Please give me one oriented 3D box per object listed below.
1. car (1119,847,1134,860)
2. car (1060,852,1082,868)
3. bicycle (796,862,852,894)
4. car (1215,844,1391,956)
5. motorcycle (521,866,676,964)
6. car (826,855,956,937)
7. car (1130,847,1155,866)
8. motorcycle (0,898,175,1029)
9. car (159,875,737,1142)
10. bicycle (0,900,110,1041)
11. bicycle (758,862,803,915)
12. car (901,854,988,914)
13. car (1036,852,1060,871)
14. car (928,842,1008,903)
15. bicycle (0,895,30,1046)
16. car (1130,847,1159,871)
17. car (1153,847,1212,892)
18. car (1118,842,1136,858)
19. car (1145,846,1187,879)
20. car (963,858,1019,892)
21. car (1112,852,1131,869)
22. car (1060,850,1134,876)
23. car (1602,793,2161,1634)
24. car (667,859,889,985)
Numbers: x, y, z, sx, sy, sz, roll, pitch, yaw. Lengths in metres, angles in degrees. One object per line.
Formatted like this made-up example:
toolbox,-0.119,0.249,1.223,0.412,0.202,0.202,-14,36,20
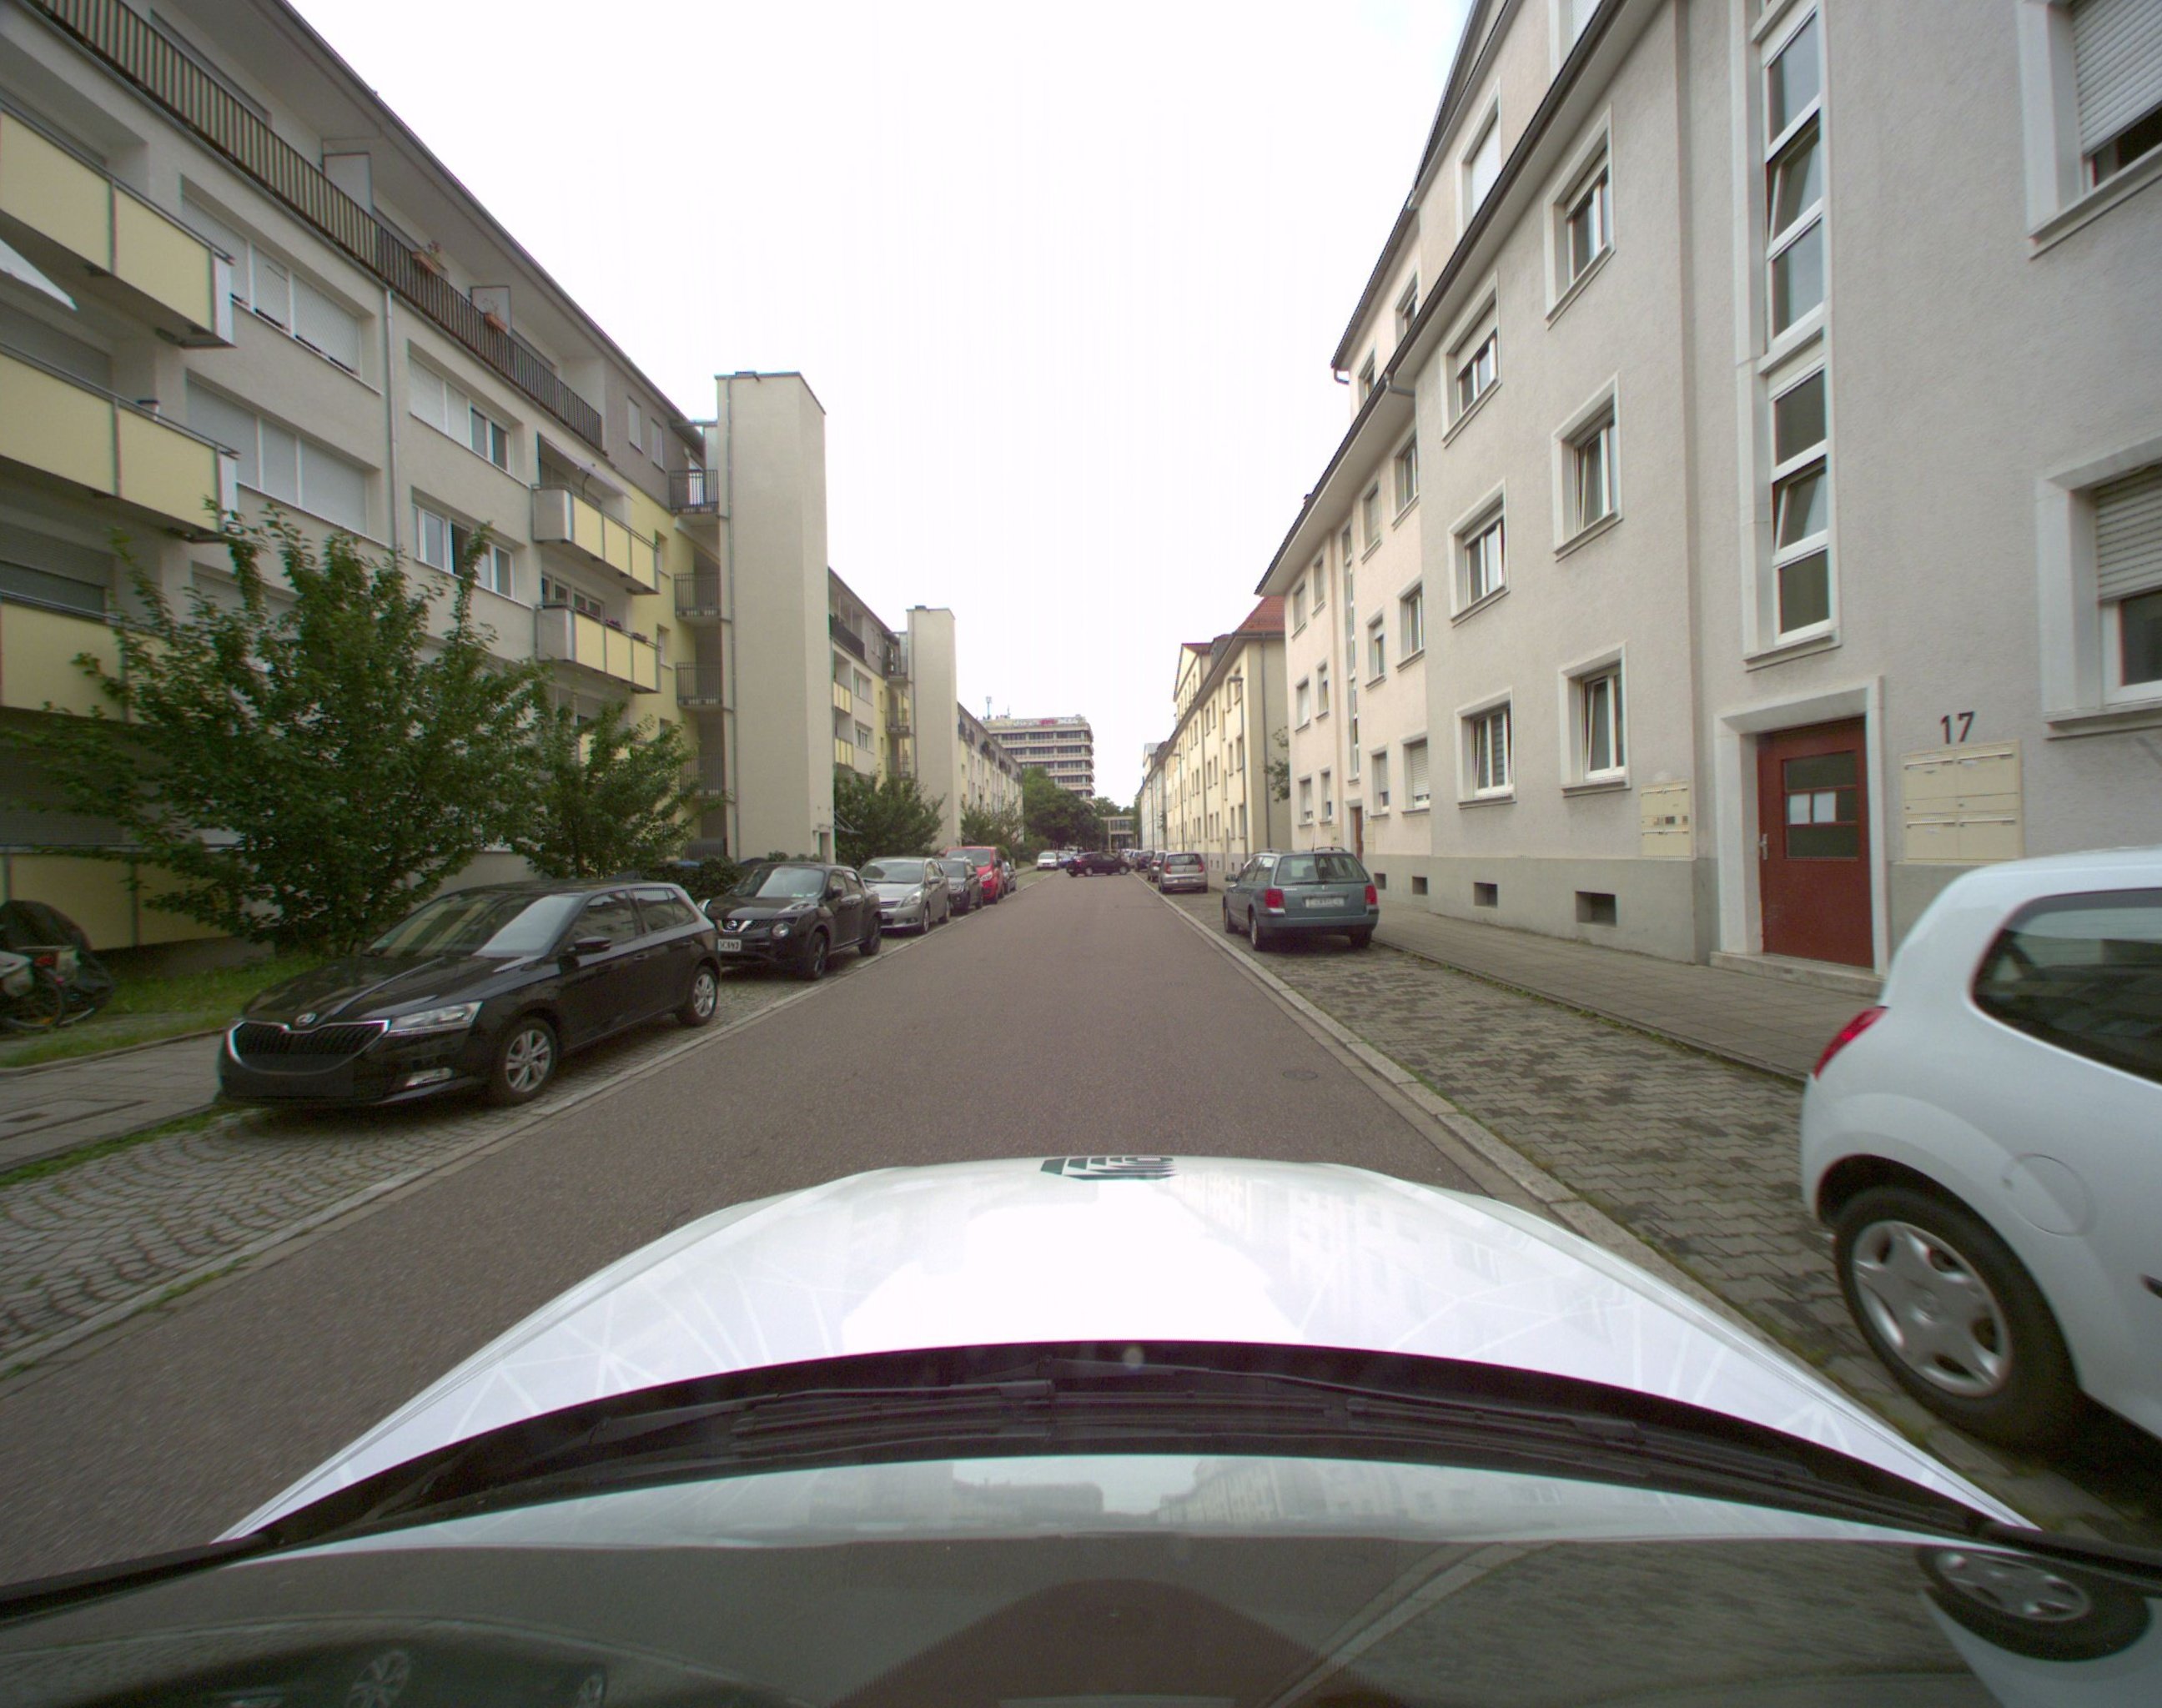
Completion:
car,5.669,-0.095,102.728,1.813,1.503,4.093,-2,0,2
car,-0.985,0.585,80.666,1.838,1.451,4.504,-1,0,3
bicycle,-9.400,0.879,29.819,1.828,1.118,0.605,-1,0,0
car,3.355,0.609,13.157,1.719,1.469,4.265,-2,0,1
motorcycle,-7.272,0.862,12.477,0.866,1.307,2.421,0,0,2
car,-4.067,0.822,18.273,1.829,1.570,4.860,0,0,-1
car,5.050,0.206,67.078,1.842,1.450,3.834,-2,0,2
motorcycle,-9.926,1.040,7.788,1.744,1.129,0.593,-2,0,-3
car,-4.510,0.948,6.681,1.637,1.438,3.858,0,0,2
bicycle,-9.802,1.023,7.145,1.718,1.142,0.608,-2,0,-3
bicycle,-7.274,0.802,19.781,0.551,1.192,1.725,-2,0,-6
car,-3.824,0.784,23.429,1.714,1.570,4.055,0,0,1
car,-2.783,0.584,69.348,1.714,1.570,3.871,0,0,1
car,-3.859,0.590,28.679,2.145,1.954,4.920,0,0,-1
bicycle,-9.748,0.994,6.524,1.719,1.225,0.608,-2,0,-3
car,4.393,0.313,56.656,1.719,1.517,4.062,-2,0,1
car,3.639,0.518,29.866,1.719,1.492,4.062,-2,0,1
car,4.855,-0.431,86.055,1.813,1.642,4.094,-3,1,2
car,4.121,0.389,40.032,1.719,1.517,4.062,-2,0,1
car,-3.783,0.863,34.739,1.864,1.323,4.362,0,0,0
car,3.838,0.615,77.411,1.718,1.476,4.506,-1,0,2
car,1.001,0.520,50.126,4.252,1.433,1.888,-2,0,-36
car,2.908,0.657,1.327,1.776,1.599,3.807,-2,0,3
car,-4.269,0.863,12.174,1.646,1.530,3.899,0,0,4
